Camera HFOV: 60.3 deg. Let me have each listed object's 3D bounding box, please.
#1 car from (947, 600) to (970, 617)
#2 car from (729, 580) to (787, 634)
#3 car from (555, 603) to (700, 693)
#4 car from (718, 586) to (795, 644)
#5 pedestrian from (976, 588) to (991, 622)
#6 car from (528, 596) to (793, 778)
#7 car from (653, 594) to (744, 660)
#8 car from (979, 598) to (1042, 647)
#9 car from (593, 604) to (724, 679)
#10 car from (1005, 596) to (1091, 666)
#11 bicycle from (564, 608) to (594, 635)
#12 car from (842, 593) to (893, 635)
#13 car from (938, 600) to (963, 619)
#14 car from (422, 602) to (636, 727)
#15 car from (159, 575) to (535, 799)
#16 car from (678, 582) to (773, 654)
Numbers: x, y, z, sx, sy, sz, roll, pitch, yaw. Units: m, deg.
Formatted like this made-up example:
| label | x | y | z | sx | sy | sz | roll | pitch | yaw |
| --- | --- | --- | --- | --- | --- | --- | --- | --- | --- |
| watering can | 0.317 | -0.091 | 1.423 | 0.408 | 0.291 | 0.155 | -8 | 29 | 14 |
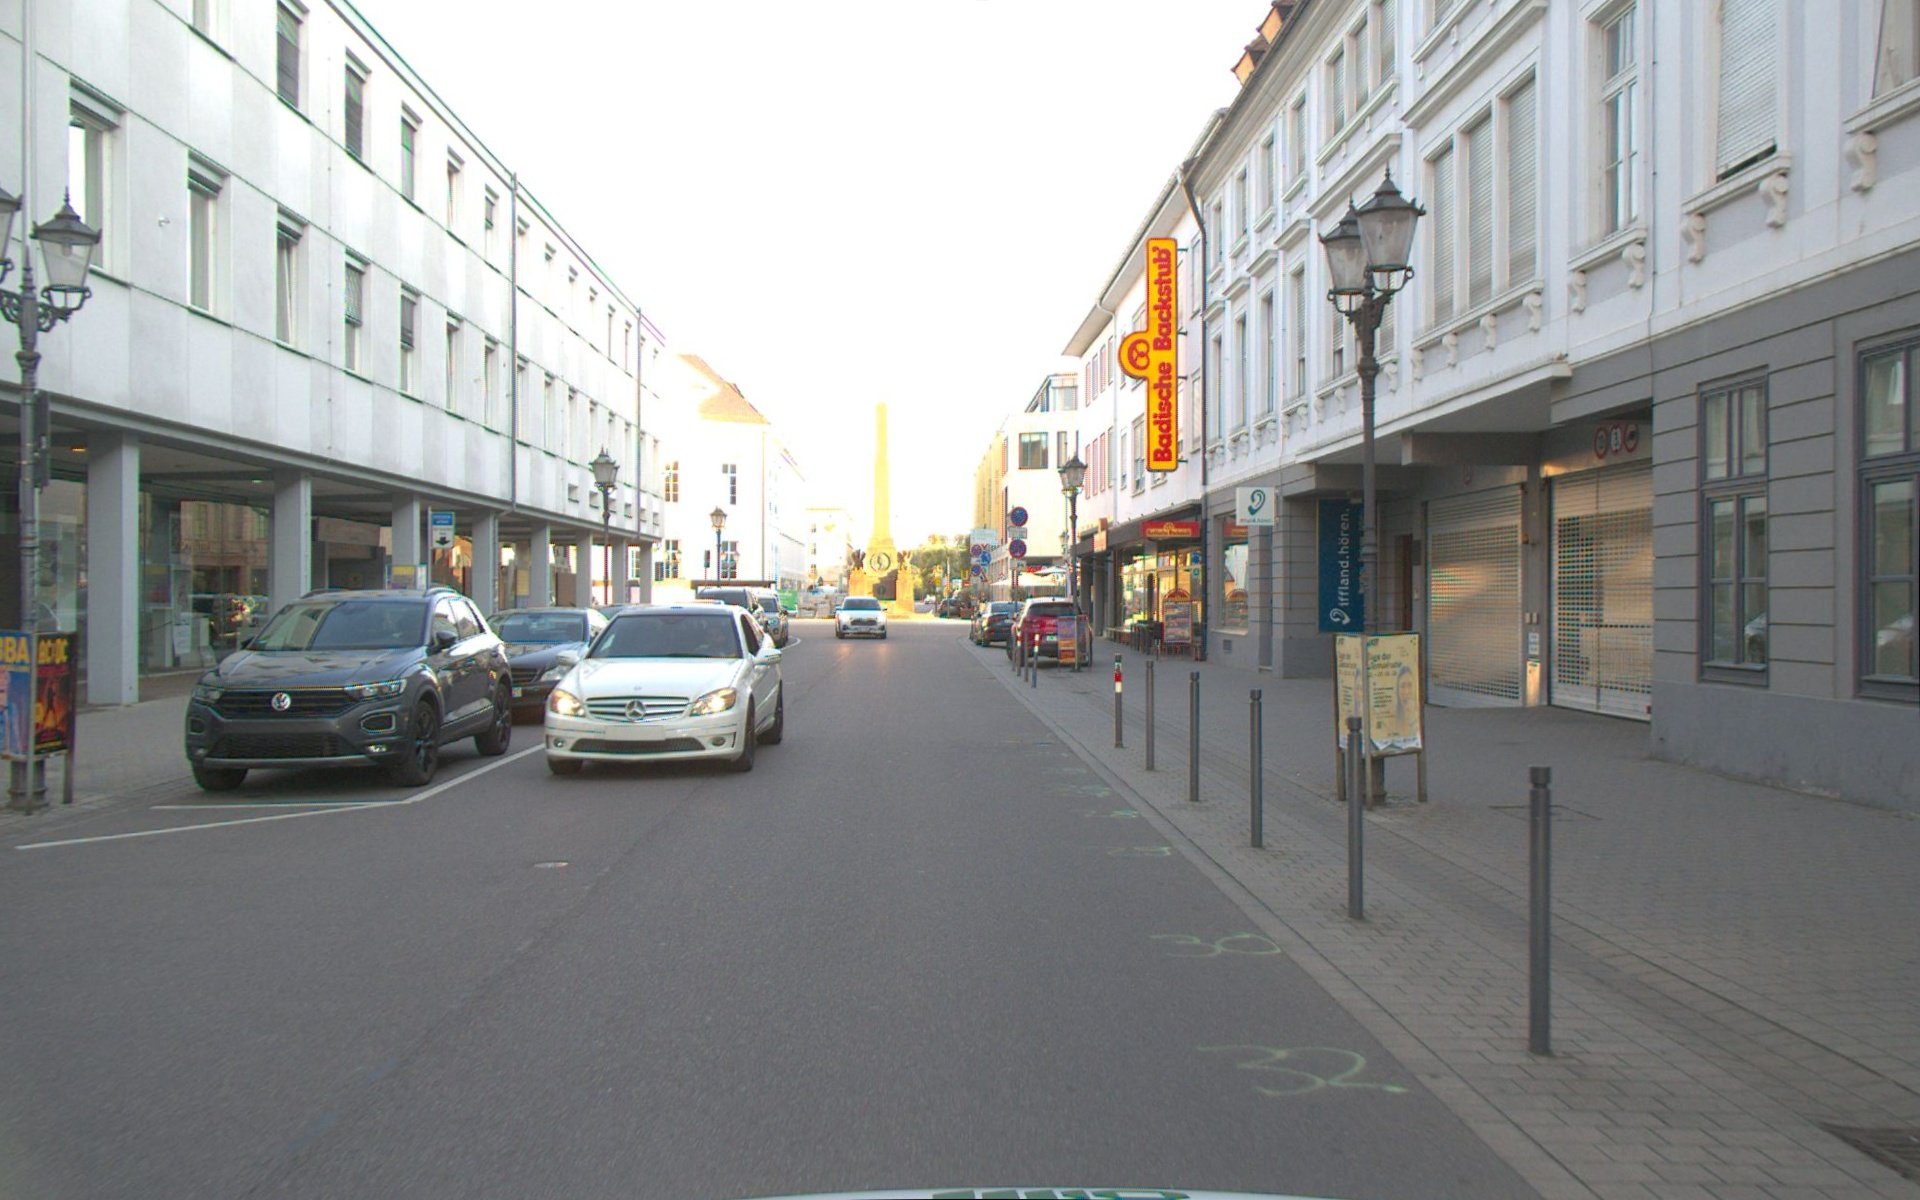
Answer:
| label | x | y | z | sx | sy | sz | roll | pitch | yaw |
| --- | --- | --- | --- | --- | --- | --- | --- | --- | --- |
| car | -0.114 | 0.708 | 142.509 | 1.953 | 1.489 | 4.000 | 0 | 0 | 0 |
| car | -7.338 | 0.242 | 59.683 | 1.956 | 1.847 | 4.774 | 0 | 0 | -9 |
| car | -5.708 | 0.778 | 28.852 | 1.749 | 1.433 | 4.087 | 0 | 0 | -1 |
| car | -6.223 | 0.442 | 50.856 | 1.953 | 1.691 | 3.999 | 0 | 0 | -1 |
| pedestrian | 1.169 | 0.263 | 82.217 | 0.676 | 1.676 | 0.695 | 0 | 0 | -2 |
| car | -2.591 | 0.690 | 15.233 | 1.749 | 1.433 | 4.087 | 0 | 0 | -1 |
| car | -6.058 | 0.599 | 38.700 | 1.639 | 1.424 | 3.998 | -1 | 0 | -3 |
| car | 1.567 | 0.674 | 52.408 | 1.765 | 1.489 | 4.116 | 0 | 0 | -1 |
| car | -5.909 | 0.785 | 32.881 | 1.953 | 1.378 | 3.999 | 0 | 0 | -1 |
| car | 2.015 | 0.692 | 38.569 | 1.724 | 1.550 | 3.676 | 0 | 0 | -1 |
| bicycle | -14.337 | 0.802 | 62.326 | 0.718 | 1.001 | 2.334 | 0 | 0 | -3 |
| car | -3.326 | 0.491 | 60.187 | 1.728 | 1.447 | 3.999 | 0 | 0 | -1 |
| car | -0.784 | 0.783 | 134.013 | 1.953 | 1.489 | 4.000 | 0 | 0 | 0 |
| car | -5.464 | 0.757 | 21.472 | 1.749 | 1.433 | 4.087 | 0 | 0 | -1 |
| car | -5.068 | 0.640 | 14.328 | 1.749 | 1.643 | 4.165 | 0 | 0 | -1 |
| car | -6.151 | 0.439 | 43.846 | 1.953 | 1.758 | 4.514 | -2 | 0 | -1 |
